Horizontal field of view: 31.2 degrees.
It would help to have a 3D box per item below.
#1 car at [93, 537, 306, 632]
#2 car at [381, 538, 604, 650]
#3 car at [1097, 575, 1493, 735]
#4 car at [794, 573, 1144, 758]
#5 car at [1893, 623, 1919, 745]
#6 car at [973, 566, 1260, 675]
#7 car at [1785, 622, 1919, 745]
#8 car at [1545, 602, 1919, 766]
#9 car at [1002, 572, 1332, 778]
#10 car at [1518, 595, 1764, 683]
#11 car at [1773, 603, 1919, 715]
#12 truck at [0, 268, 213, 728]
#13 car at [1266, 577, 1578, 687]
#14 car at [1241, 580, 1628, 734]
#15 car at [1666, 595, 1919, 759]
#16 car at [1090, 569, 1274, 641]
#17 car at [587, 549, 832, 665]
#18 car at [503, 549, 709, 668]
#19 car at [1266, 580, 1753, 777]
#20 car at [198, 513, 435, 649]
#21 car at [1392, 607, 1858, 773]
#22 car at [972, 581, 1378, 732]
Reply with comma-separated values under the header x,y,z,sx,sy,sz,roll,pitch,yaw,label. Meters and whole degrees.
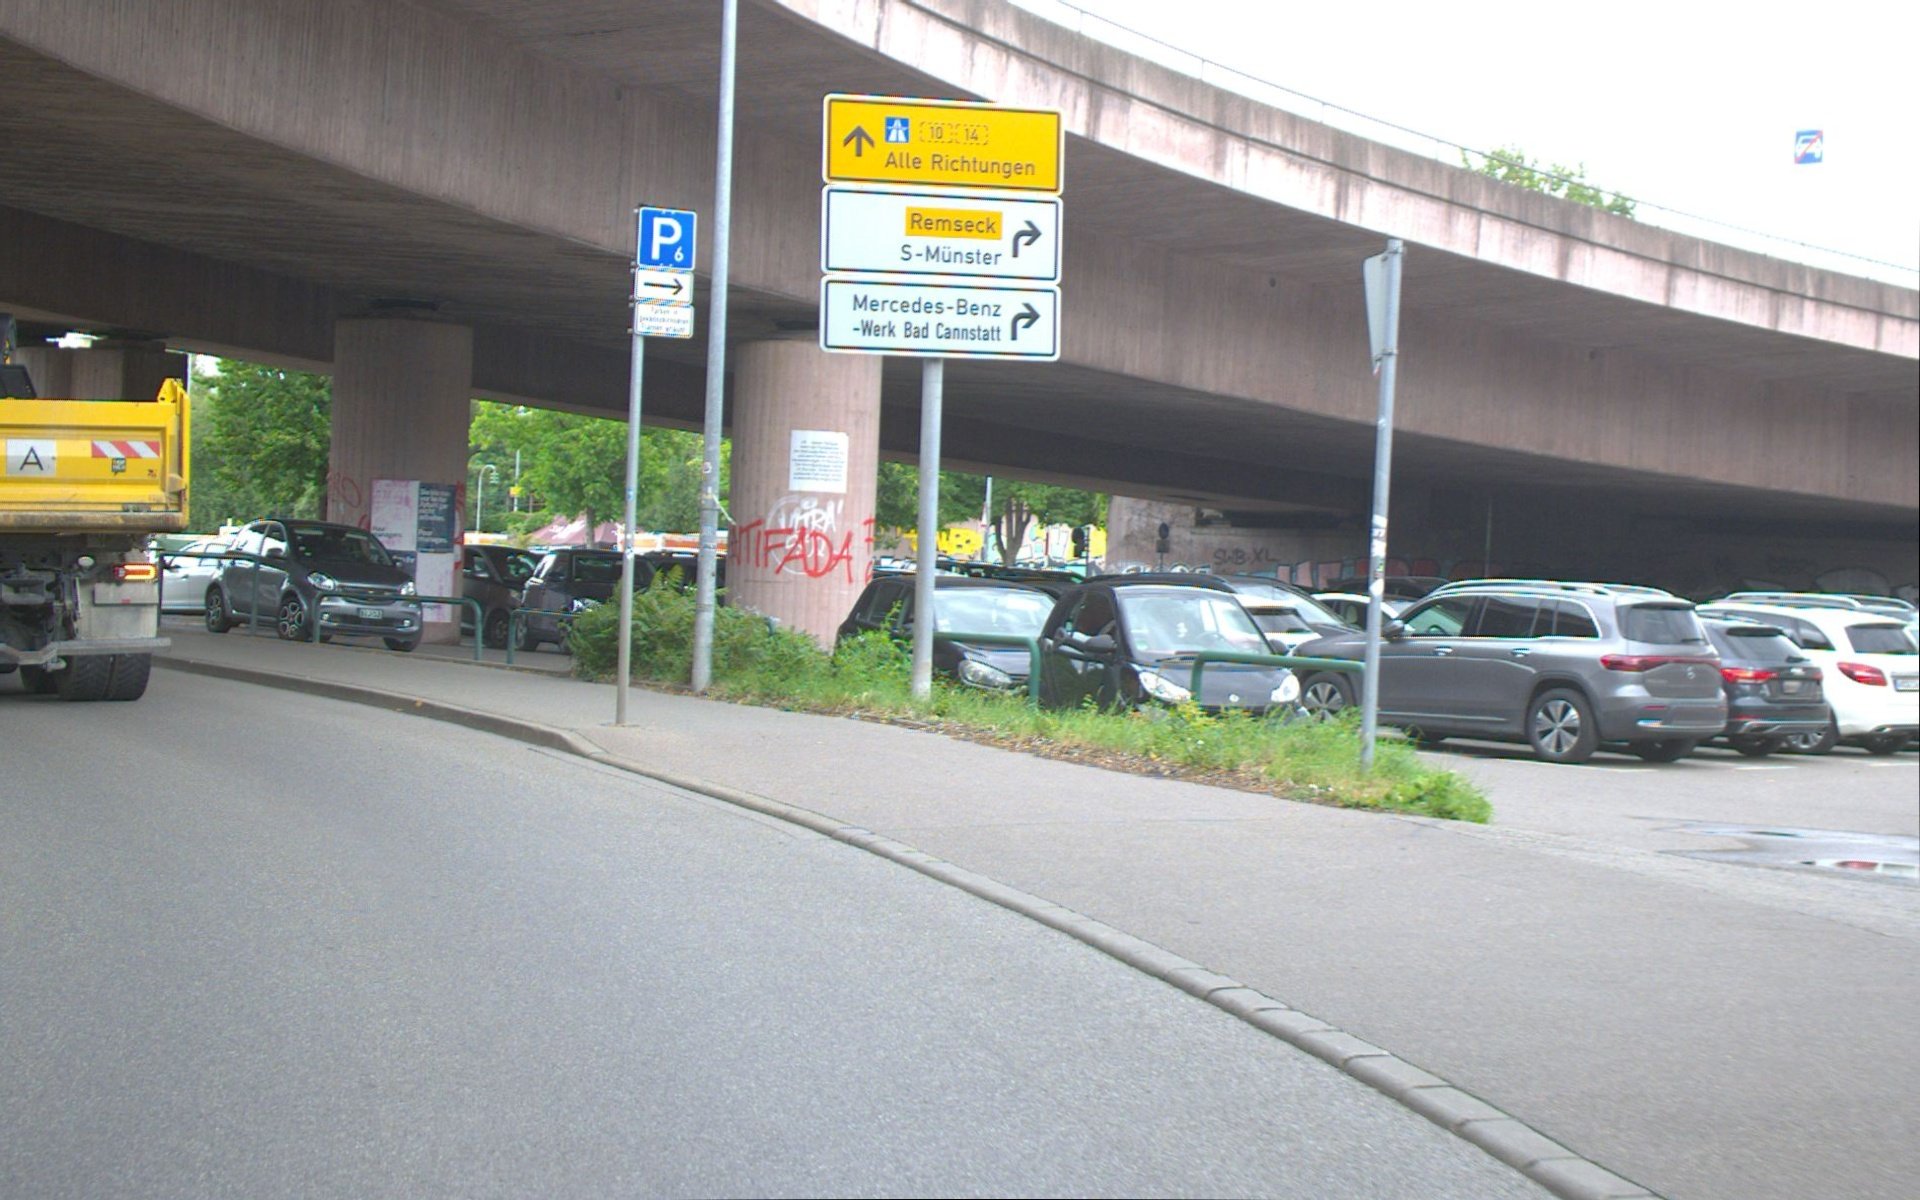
x,y,z,sx,sy,sz,roll,pitch,yaw,label
-13.536,-0.281,61.071,4.008,1.546,1.635,2,0,42,car
-7.086,-0.099,51.965,1.526,1.495,3.373,5,-2,-45,car
3.728,0.593,38.791,1.833,1.587,4.190,2,1,-45,car
-0.004,0.550,31.285,1.729,1.474,4.251,2,0,-21,car
13.781,1.126,42.019,1.704,1.504,4.259,2,1,-45,car
2.345,0.296,52.254,1.833,1.460,4.190,2,1,-45,car
12.080,1.038,40.370,1.627,1.359,4.404,2,1,-45,car
8.580,0.881,37.308,1.752,1.551,4.085,2,1,-45,car
1.576,0.560,27.013,1.539,1.474,2.762,2,0,-21,car
12.806,0.716,64.782,1.833,1.460,4.190,2,1,-45,car
14.642,0.926,51.947,1.833,1.587,4.190,2,1,-45,car
-9.245,-0.871,31.168,2.757,3.686,7.881,-1,1,-28,truck
7.975,0.531,59.668,2.085,1.671,5.103,2,1,-45,car
5.514,0.645,40.316,1.833,1.587,4.190,2,1,-45,car
10.397,0.874,38.898,1.752,1.685,4.429,2,1,-45,car
5.098,0.112,79.142,3.858,1.473,1.754,3,1,39,car
-4.066,0.104,55.441,1.833,1.692,3.860,2,1,-45,car
-4.955,0.120,47.717,1.785,1.501,3.860,3,-1,-22,car
5.277,0.723,33.468,1.741,1.669,4.467,2,1,-45,car
-8.118,-0.259,43.228,1.606,1.528,3.410,4,-1,-34,car
6.792,0.892,35.460,1.752,1.444,4.456,2,1,-45,car
2.283,0.592,37.270,1.833,1.416,4.190,2,1,-45,car
